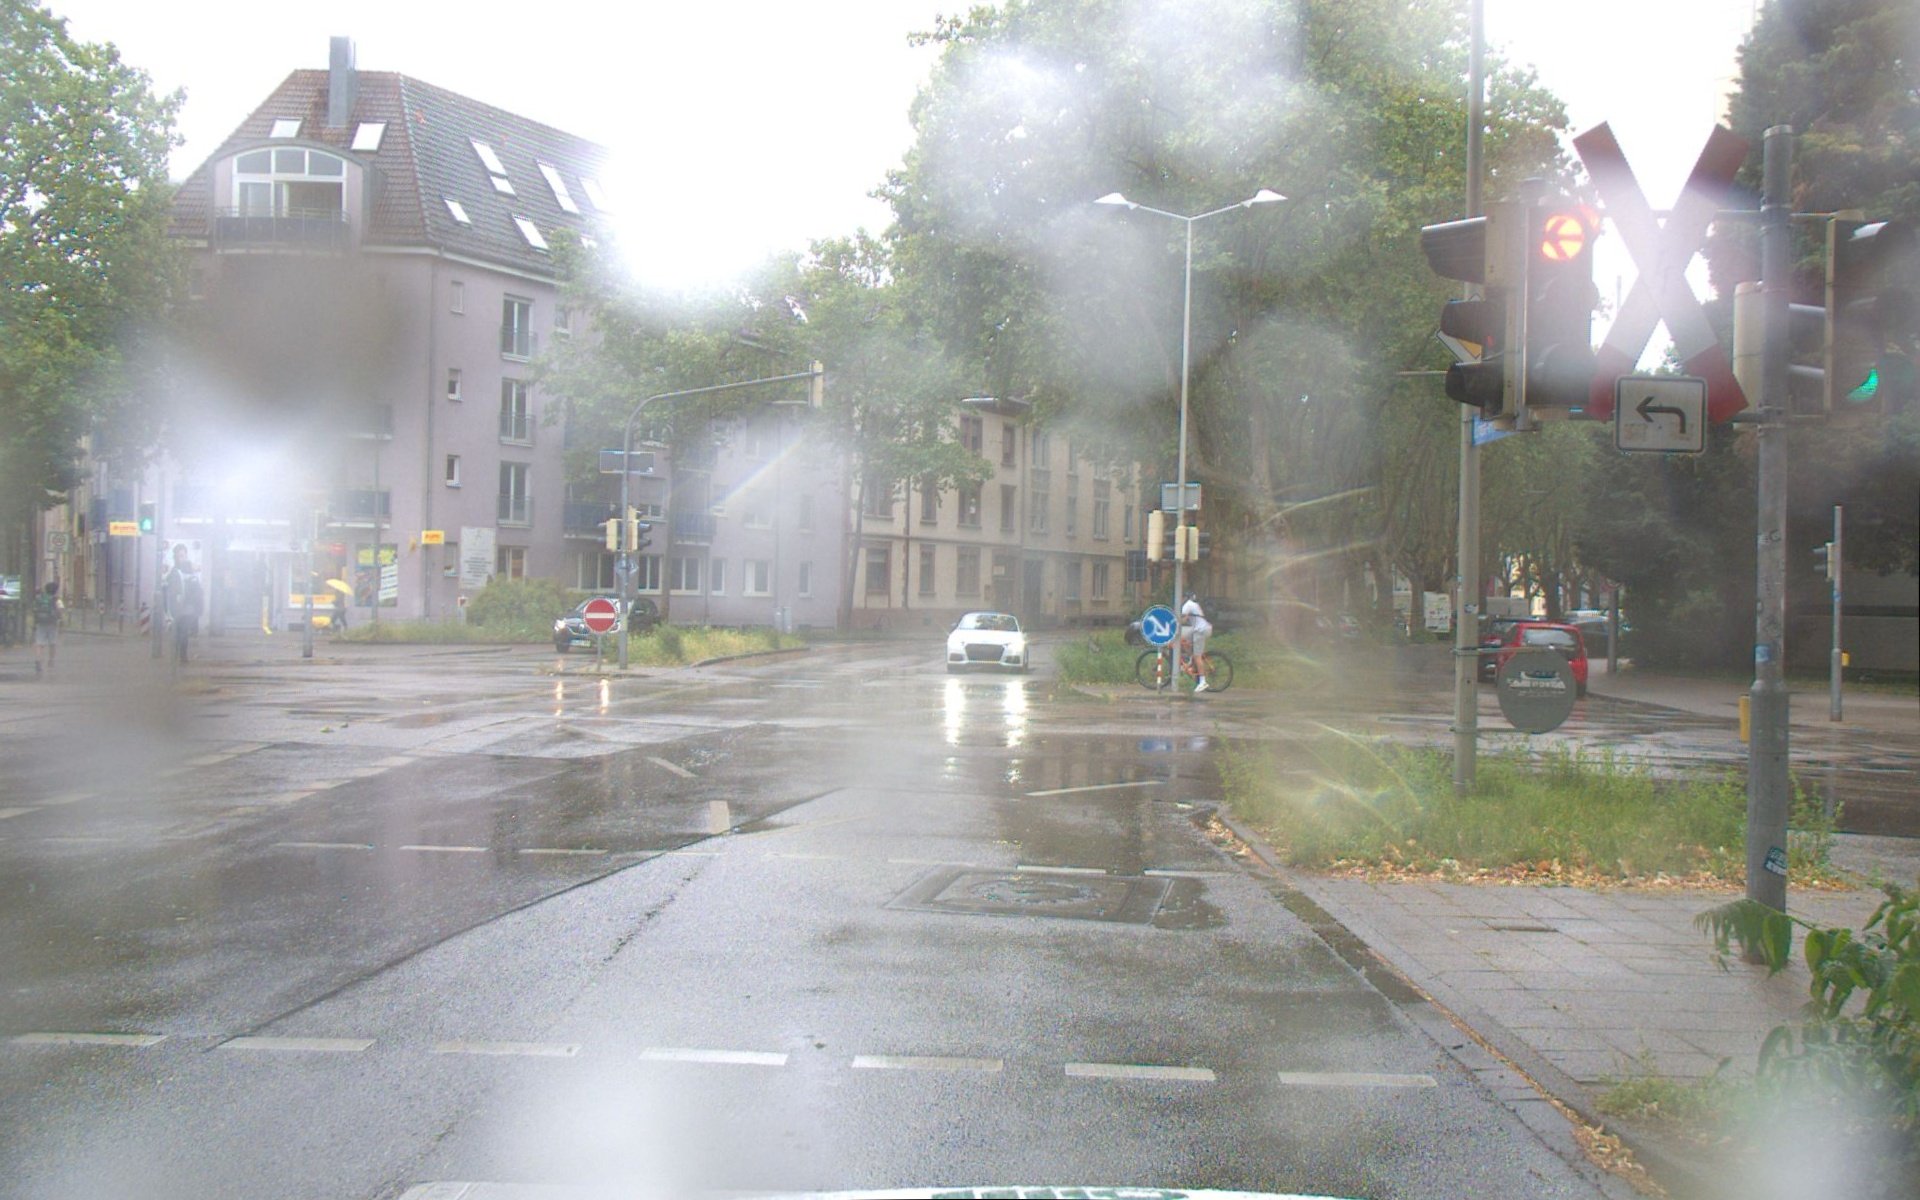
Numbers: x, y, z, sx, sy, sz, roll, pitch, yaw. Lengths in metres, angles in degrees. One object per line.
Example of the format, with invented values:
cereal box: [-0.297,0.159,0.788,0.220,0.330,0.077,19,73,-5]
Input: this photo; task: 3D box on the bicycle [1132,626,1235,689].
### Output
bicycle: [4.107,1.049,30.442,1.833,1.100,0.657,1,0,7]

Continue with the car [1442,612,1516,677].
car: [14.983,1.250,47.907,1.745,1.757,4.003,1,0,13]

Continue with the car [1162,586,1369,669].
car: [6.063,0.530,32.836,3.902,1.512,2.002,1,0,12]

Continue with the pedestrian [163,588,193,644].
pedestrian: [-23.068,0.463,48.779,0.667,1.628,0.957,1,-1,-32]

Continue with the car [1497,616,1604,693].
car: [13.046,1.160,36.733,1.754,1.524,4.003,1,0,13]

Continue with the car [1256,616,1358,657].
car: [13.772,1.440,65.661,3.902,1.512,2.002,1,0,12]

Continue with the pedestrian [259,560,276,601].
pedestrian: [-22.680,-0.633,54.148,0.437,1.353,0.559,1,-1,-18]

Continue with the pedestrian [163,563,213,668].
pedestrian: [-14.070,0.287,30.147,0.777,1.888,0.676,1,0,-25]

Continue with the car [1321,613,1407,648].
car: [19.255,1.435,78.924,3.902,1.574,2.002,1,0,12]

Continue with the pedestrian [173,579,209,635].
pedestrian: [-21.554,0.188,46.341,0.744,1.560,0.781,1,-1,-38]

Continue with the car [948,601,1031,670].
car: [0.707,0.795,39.135,1.845,1.461,4.001,1,0,1]

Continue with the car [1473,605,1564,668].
car: [13.891,0.874,41.303,1.745,1.371,3.932,1,1,13]

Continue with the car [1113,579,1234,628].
car: [7.014,0.113,54.105,3.784,1.512,1.717,1,0,12]

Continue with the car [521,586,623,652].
car: [-9.632,0.444,41.342,1.716,1.538,3.838,1,0,-2]

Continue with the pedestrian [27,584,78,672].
pedestrian: [-14.945,0.453,27.222,0.643,1.420,0.773,1,0,-35]

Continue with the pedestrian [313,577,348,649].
pedestrian: [-19.378,0.404,50.925,0.897,2.188,0.879,1,-1,-27]

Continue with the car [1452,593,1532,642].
car: [33.662,1.075,104.811,1.974,2.999,4.720,1,0,-31]

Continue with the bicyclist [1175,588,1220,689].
bicyclist: [4.357,0.694,30.417,0.778,1.817,0.697,1,-1,7]

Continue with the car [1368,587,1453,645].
car: [23.947,0.840,88.067,2.005,2.999,4.742,1,0,-21]

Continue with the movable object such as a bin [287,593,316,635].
movable object such as a bin: [-20.134,0.428,50.539,0.742,1.258,0.661,1,-1,-27]
